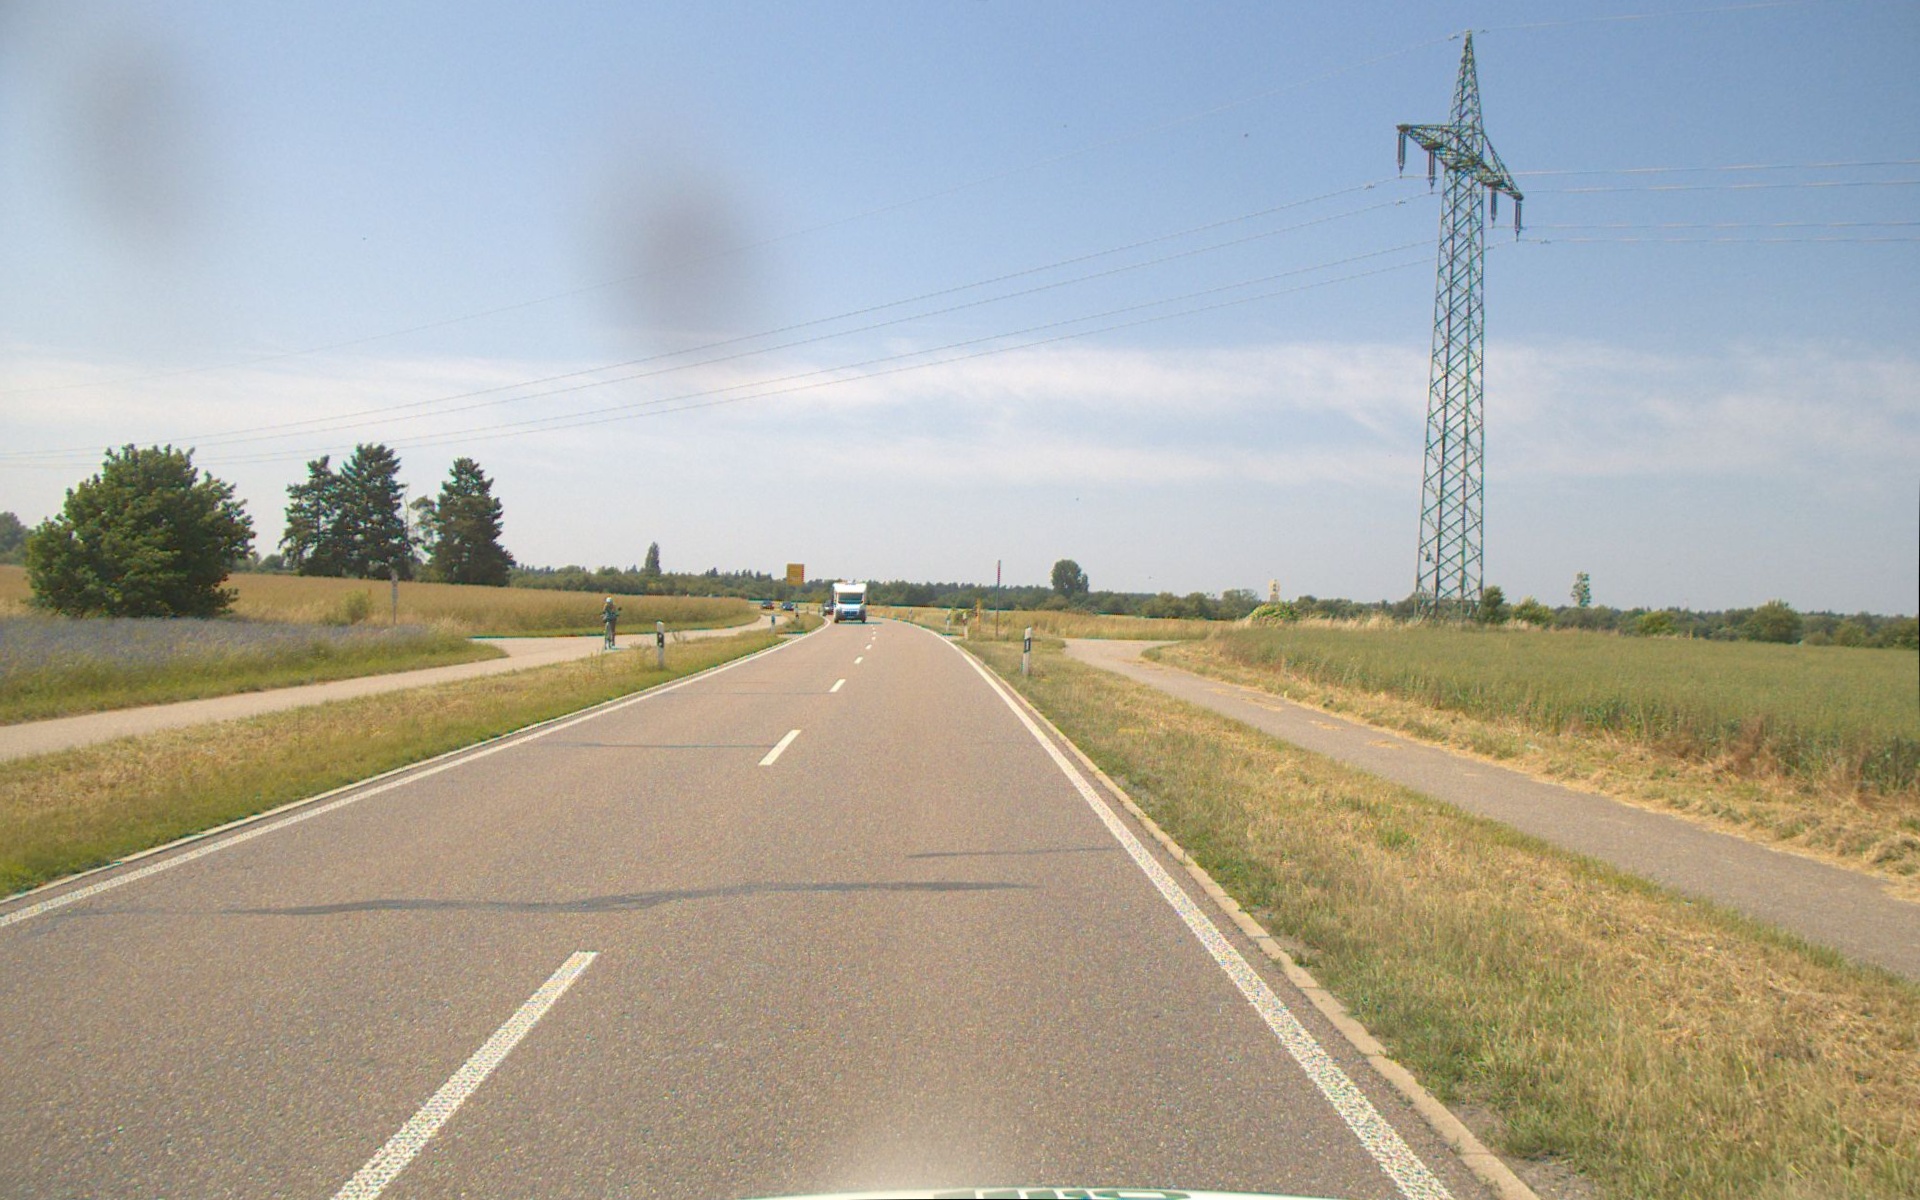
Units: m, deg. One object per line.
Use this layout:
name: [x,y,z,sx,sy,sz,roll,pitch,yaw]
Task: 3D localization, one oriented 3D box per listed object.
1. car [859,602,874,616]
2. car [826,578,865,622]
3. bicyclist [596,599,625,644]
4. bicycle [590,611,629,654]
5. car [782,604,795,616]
car: [-9.965,0.973,176.849,1.591,1.517,3.997,1,0,-3]
car: [-7.886,-0.007,114.364,2.349,2.896,7.625,1,0,-2]
bicyclist: [-10.709,0.641,50.685,0.687,1.354,0.965,1,0,-2]
bicycle: [-10.715,0.975,50.640,0.747,1.250,2.215,1,0,-2]
car: [-24.798,1.467,239.847,1.678,1.614,3.500,1,-1,-3]
